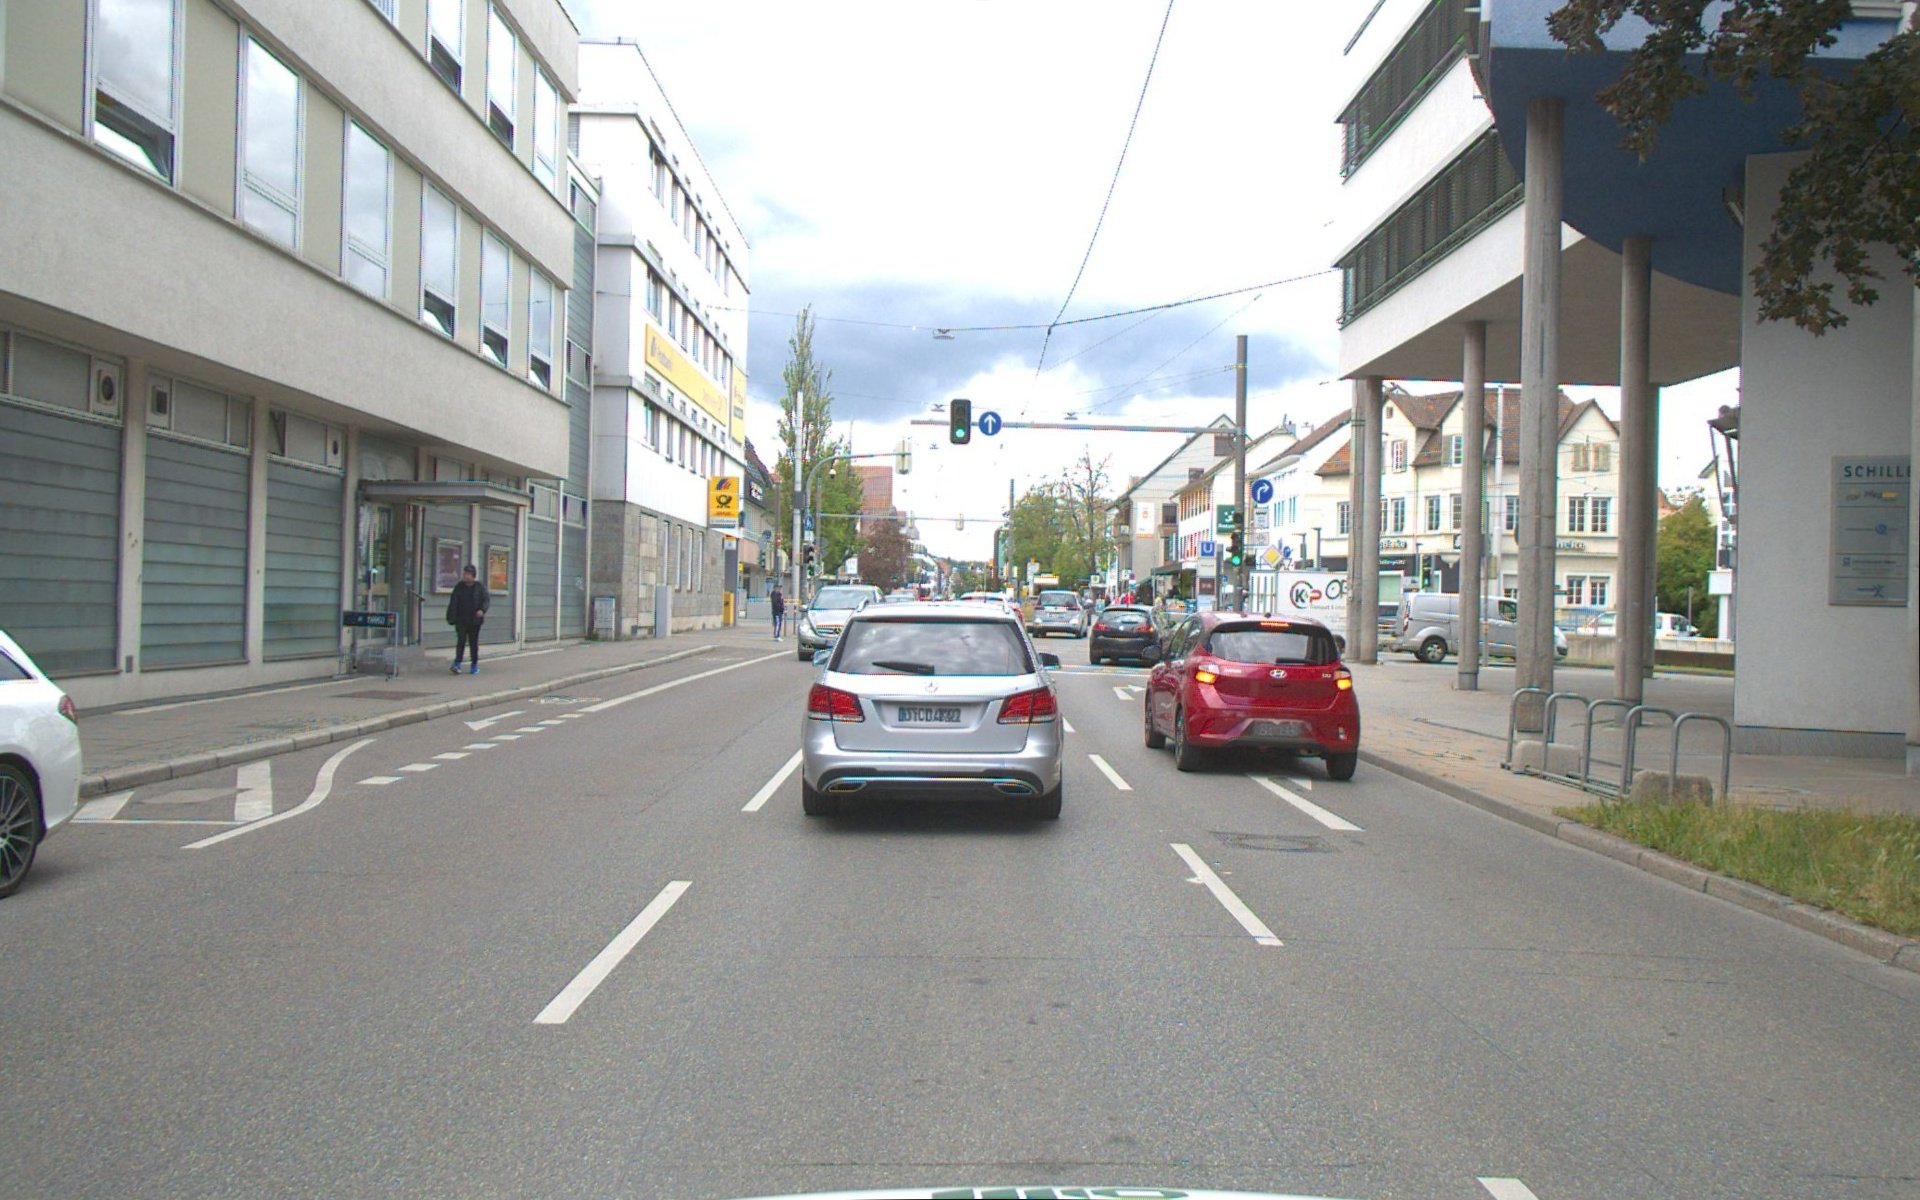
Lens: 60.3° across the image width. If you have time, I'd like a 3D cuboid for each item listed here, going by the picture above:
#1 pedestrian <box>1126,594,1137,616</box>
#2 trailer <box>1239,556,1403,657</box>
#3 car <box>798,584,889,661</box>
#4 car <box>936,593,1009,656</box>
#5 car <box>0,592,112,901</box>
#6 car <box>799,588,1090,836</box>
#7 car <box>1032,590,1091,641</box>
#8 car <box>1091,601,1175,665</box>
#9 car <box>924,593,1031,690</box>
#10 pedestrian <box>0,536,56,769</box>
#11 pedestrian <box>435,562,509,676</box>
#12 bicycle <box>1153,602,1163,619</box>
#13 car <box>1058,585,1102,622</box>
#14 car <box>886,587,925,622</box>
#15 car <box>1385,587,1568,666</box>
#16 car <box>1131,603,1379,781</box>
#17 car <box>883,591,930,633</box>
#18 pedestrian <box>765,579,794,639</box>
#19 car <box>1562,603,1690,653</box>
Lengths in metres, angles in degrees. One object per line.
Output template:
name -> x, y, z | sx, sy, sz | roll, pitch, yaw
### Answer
pedestrian -> 11.853, 0.366, 114.097 | 0.567, 1.495, 0.649 | 2, 0, -10
trailer -> 10.494, 0.196, 48.098 | 4.246, 2.658, 1.873 | 3, 0, -21
car -> -2.655, 0.476, 38.480 | 1.739, 1.660, 4.768 | 0, 0, 0
car -> 0.273, 0.589, 42.624 | 1.699, 1.534, 3.998 | 1, 0, -2
car -> -5.393, 0.706, 6.534 | 1.635, 1.459, 4.554 | -1, 0, 2
car -> -0.171, 0.696, 12.446 | 1.808, 1.534, 4.169 | 1, 0, -2
car -> 3.728, 0.543, 60.181 | 1.697, 1.790, 4.003 | 1, 0, 10
car -> 4.313, 0.782, 40.805 | 1.697, 1.435, 4.004 | 1, 1, 11
car -> 0.270, 0.665, 28.754 | 1.699, 1.534, 4.000 | 1, 0, -1
pedestrian -> -7.495, 0.391, 12.661 | 0.577, 1.748, 1.055 | 1, 0, -2
pedestrian -> -7.811, 0.299, 26.525 | 0.844, 1.748, 1.031 | 2, 0, -2
bicycle -> 12.769, 0.666, 106.621 | 0.438, 1.110, 2.149 | 1, 0, 1
car -> 6.063, 0.169, 83.882 | 1.791, 1.816, 3.999 | 1, 0, -2
car -> -2.675, 0.207, 82.318 | 1.762, 1.724, 3.897 | 0, 0, 0
car -> 15.103, 0.763, 48.567 | 4.787, 1.979, 1.885 | 3, 0, 6
car -> 2.856, 0.831, 16.834 | 1.664, 1.477, 3.999 | 3, 0, -1
car -> -1.964, 0.423, 61.659 | 1.623, 1.492, 3.920 | 0, 0, 0
pedestrian -> -5.328, 0.261, 48.803 | 0.634, 1.748, 0.783 | 2, 0, 7
car -> 28.673, 1.173, 71.303 | 1.970, 1.952, 4.717 | 3, -1, -39
